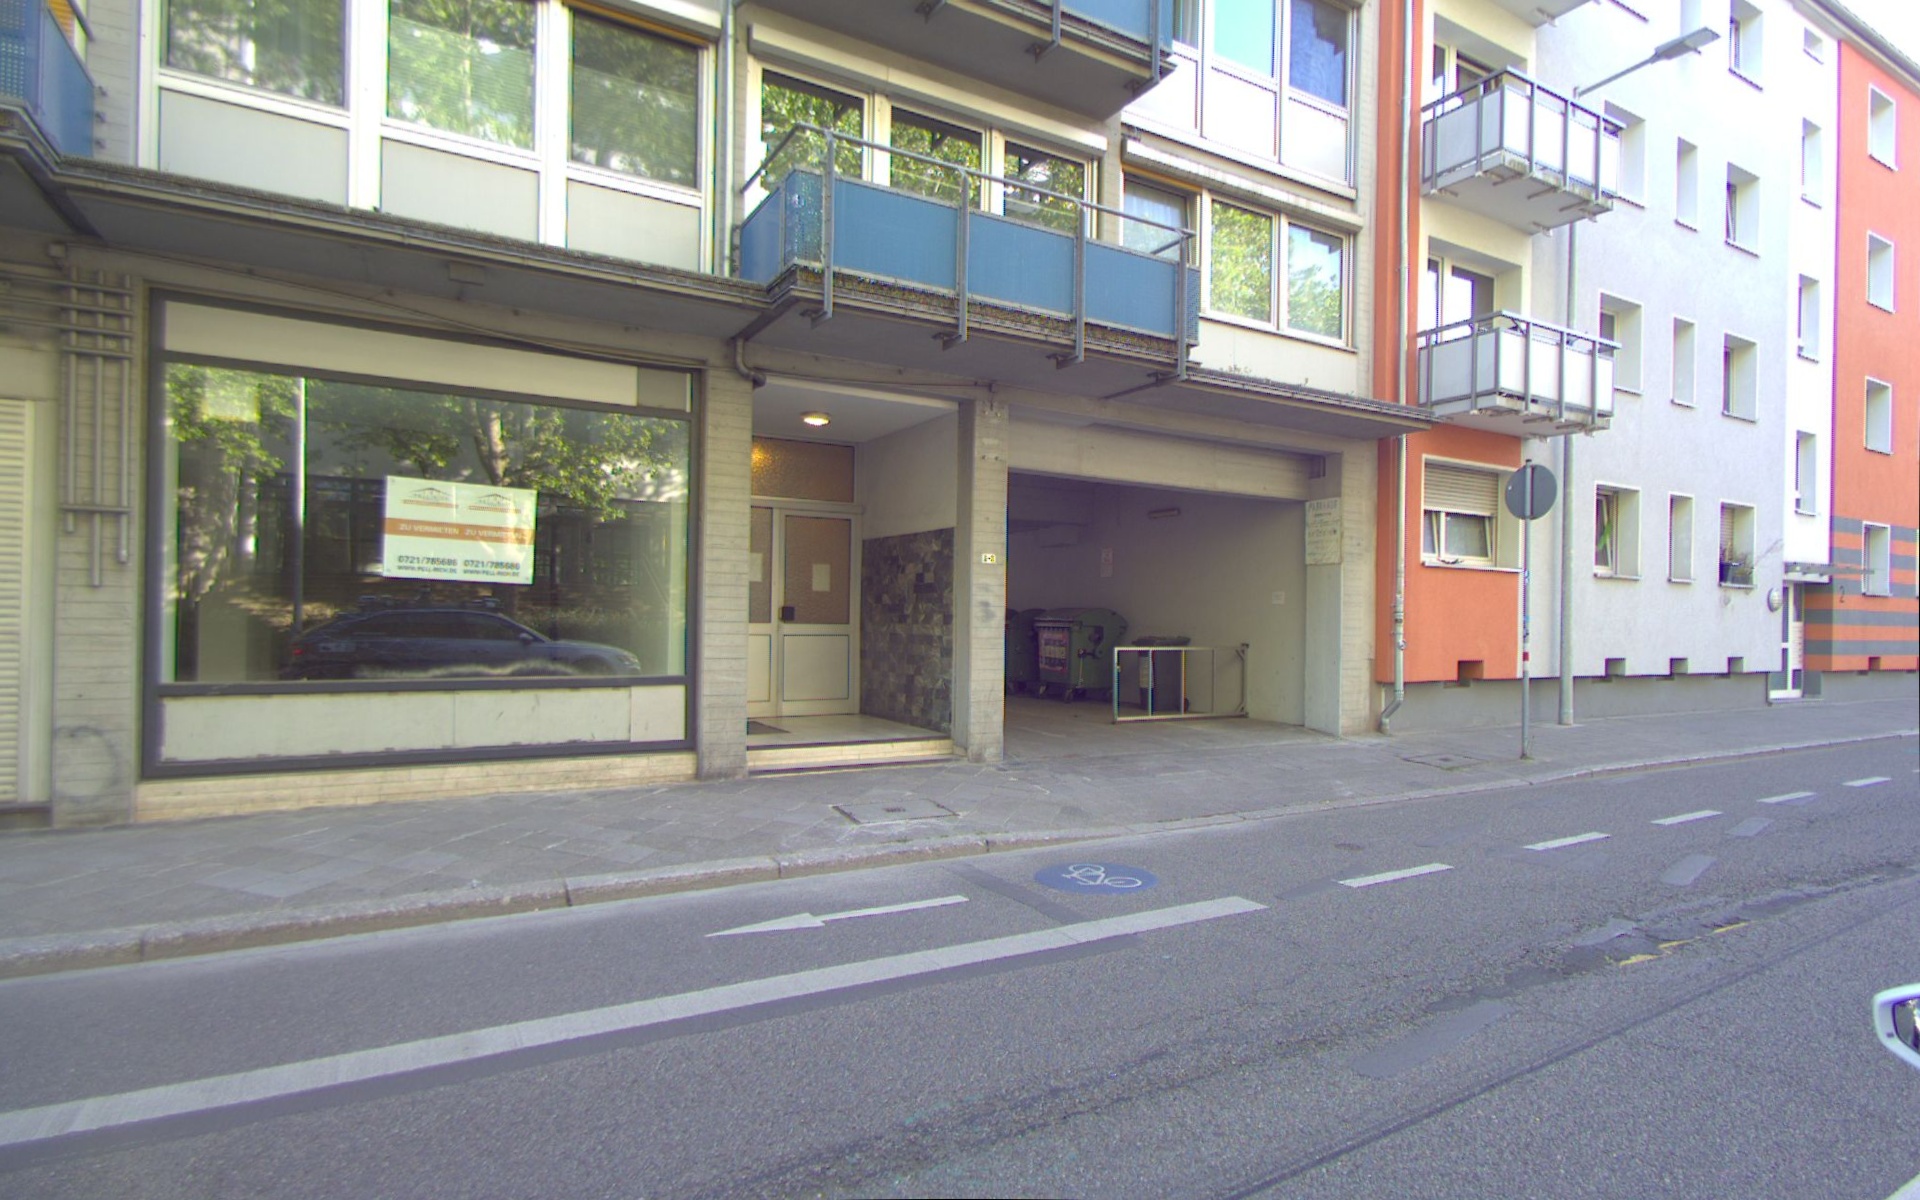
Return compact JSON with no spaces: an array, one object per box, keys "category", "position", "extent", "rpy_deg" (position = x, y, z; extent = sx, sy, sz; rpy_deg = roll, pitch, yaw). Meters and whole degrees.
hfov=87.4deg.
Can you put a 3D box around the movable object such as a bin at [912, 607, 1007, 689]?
[{"category":"movable object such as a bin","position":[-0.032,0.870,18.880],"extent":[1.119,1.449,1.666],"rpy_deg":[1,-1,-28]}]

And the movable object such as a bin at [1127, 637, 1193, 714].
[{"category":"movable object such as a bin","position":[2.897,1.079,14.536],"extent":[0.695,1.055,0.593],"rpy_deg":[2,0,-30]}]

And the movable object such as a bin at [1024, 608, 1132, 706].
[{"category":"movable object such as a bin","position":[1.847,0.866,15.854],"extent":[1.128,1.449,1.342],"rpy_deg":[1,0,-28]}]

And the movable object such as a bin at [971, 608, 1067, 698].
[{"category":"movable object such as a bin","position":[0.995,0.872,17.177],"extent":[1.119,1.449,1.322],"rpy_deg":[1,0,-28]}]
